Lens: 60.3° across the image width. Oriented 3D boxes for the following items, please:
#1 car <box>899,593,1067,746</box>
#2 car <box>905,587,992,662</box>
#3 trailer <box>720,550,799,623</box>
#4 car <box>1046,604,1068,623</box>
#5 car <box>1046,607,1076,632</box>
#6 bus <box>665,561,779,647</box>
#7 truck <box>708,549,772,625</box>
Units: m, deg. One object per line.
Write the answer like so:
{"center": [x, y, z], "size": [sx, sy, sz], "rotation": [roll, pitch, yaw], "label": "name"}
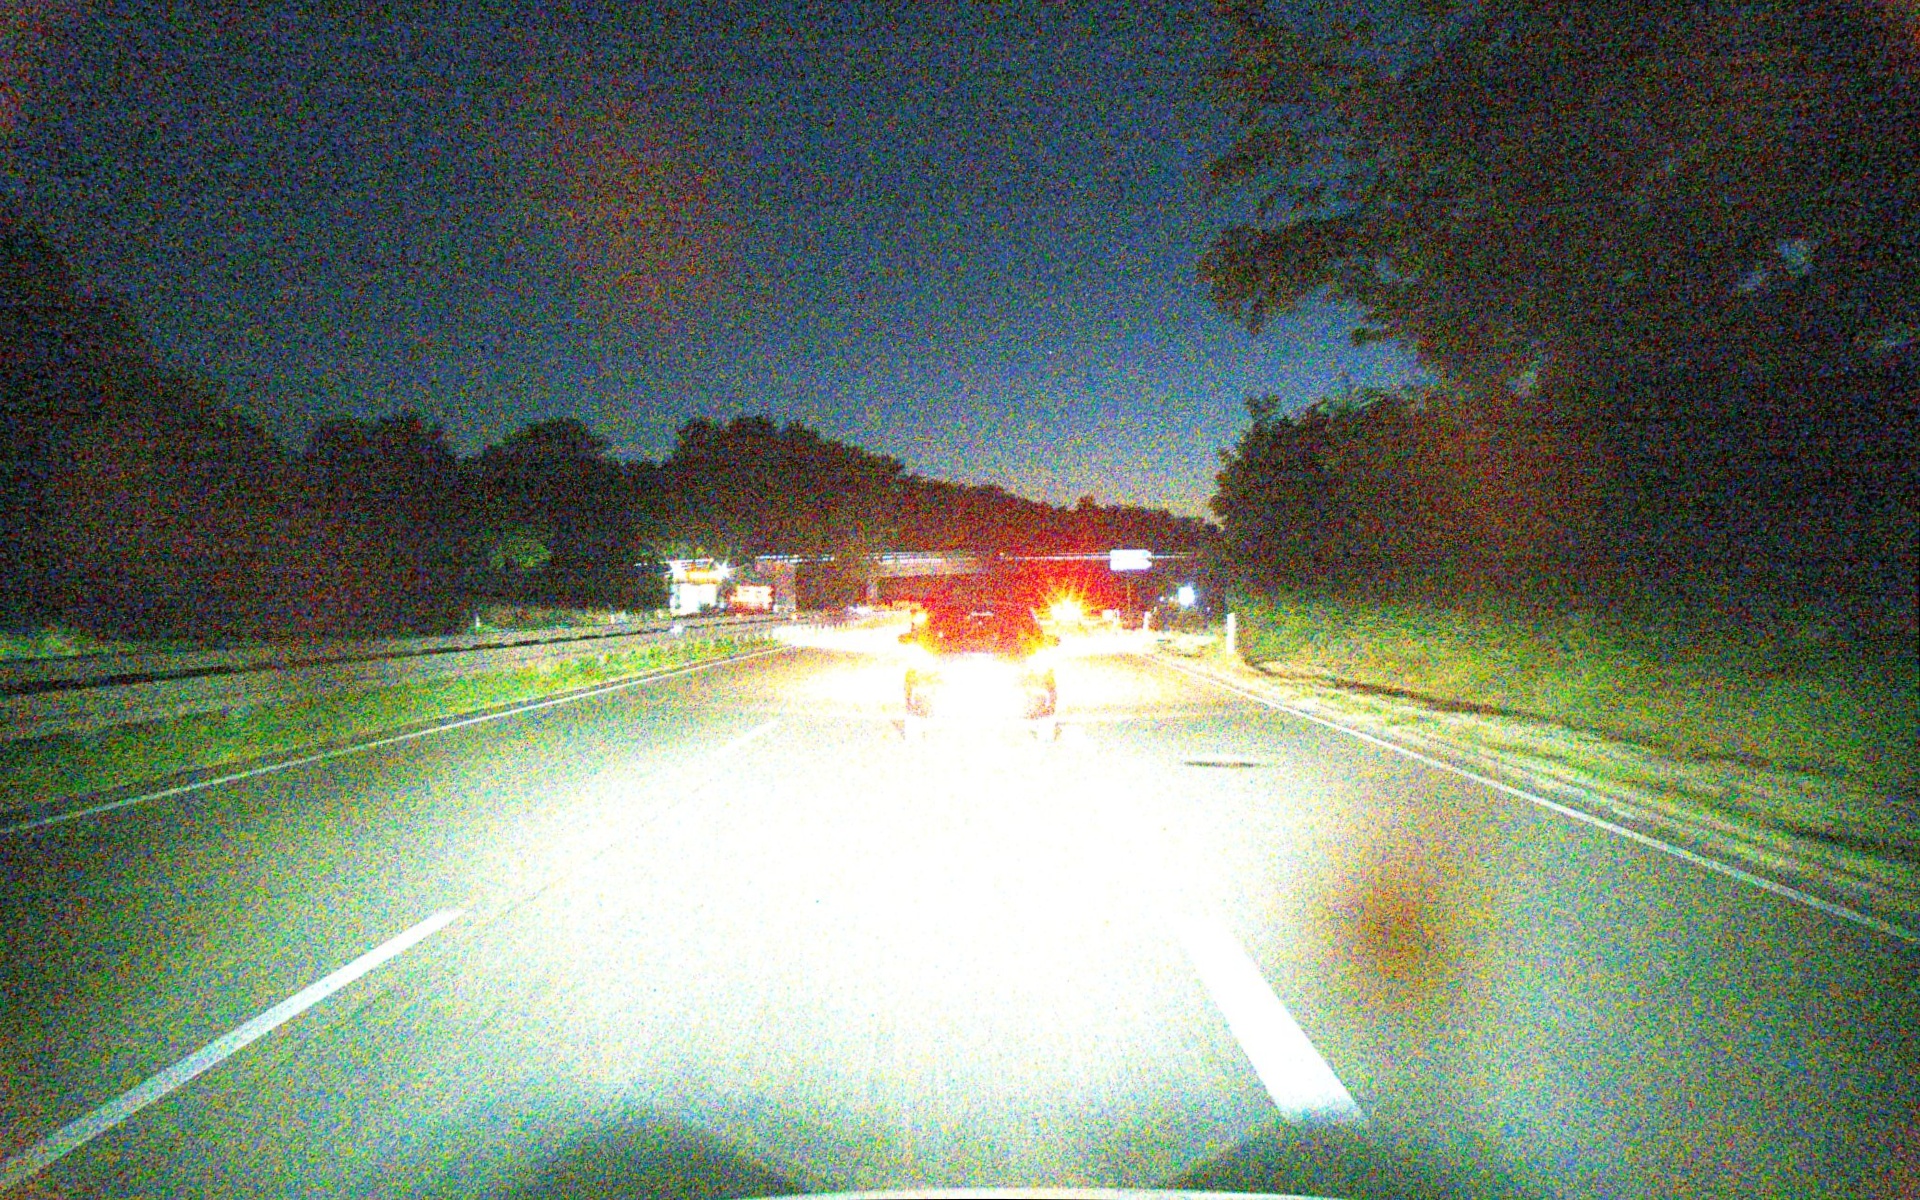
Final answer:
{"center": [0.264, 0.703, 18.498], "size": [1.656, 1.503, 4.000], "rotation": [1, 0, 1], "label": "car"}
{"center": [-0.231, 0.535, 38.748], "size": [1.900, 1.636, 4.644], "rotation": [1, 0, 1], "label": "car"}
{"center": [-12.265, -0.809, 102.615], "size": [2.620, 4.222, 13.750], "rotation": [0, 0, 3], "label": "trailer"}
{"center": [9.325, 1.337, 159.871], "size": [1.911, 1.565, 4.241], "rotation": [-4, -2, 1], "label": "car"}
{"center": [6.702, 1.289, 110.080], "size": [1.698, 1.646, 3.798], "rotation": [0, 0, -1], "label": "car"}
{"center": [-10.254, 0.103, 72.768], "size": [2.863, 3.446, 12.310], "rotation": [0, 1, 2], "label": "bus"}
{"center": [-12.625, -0.715, 95.328], "size": [2.620, 4.250, 5.870], "rotation": [0, 0, 2], "label": "truck"}
